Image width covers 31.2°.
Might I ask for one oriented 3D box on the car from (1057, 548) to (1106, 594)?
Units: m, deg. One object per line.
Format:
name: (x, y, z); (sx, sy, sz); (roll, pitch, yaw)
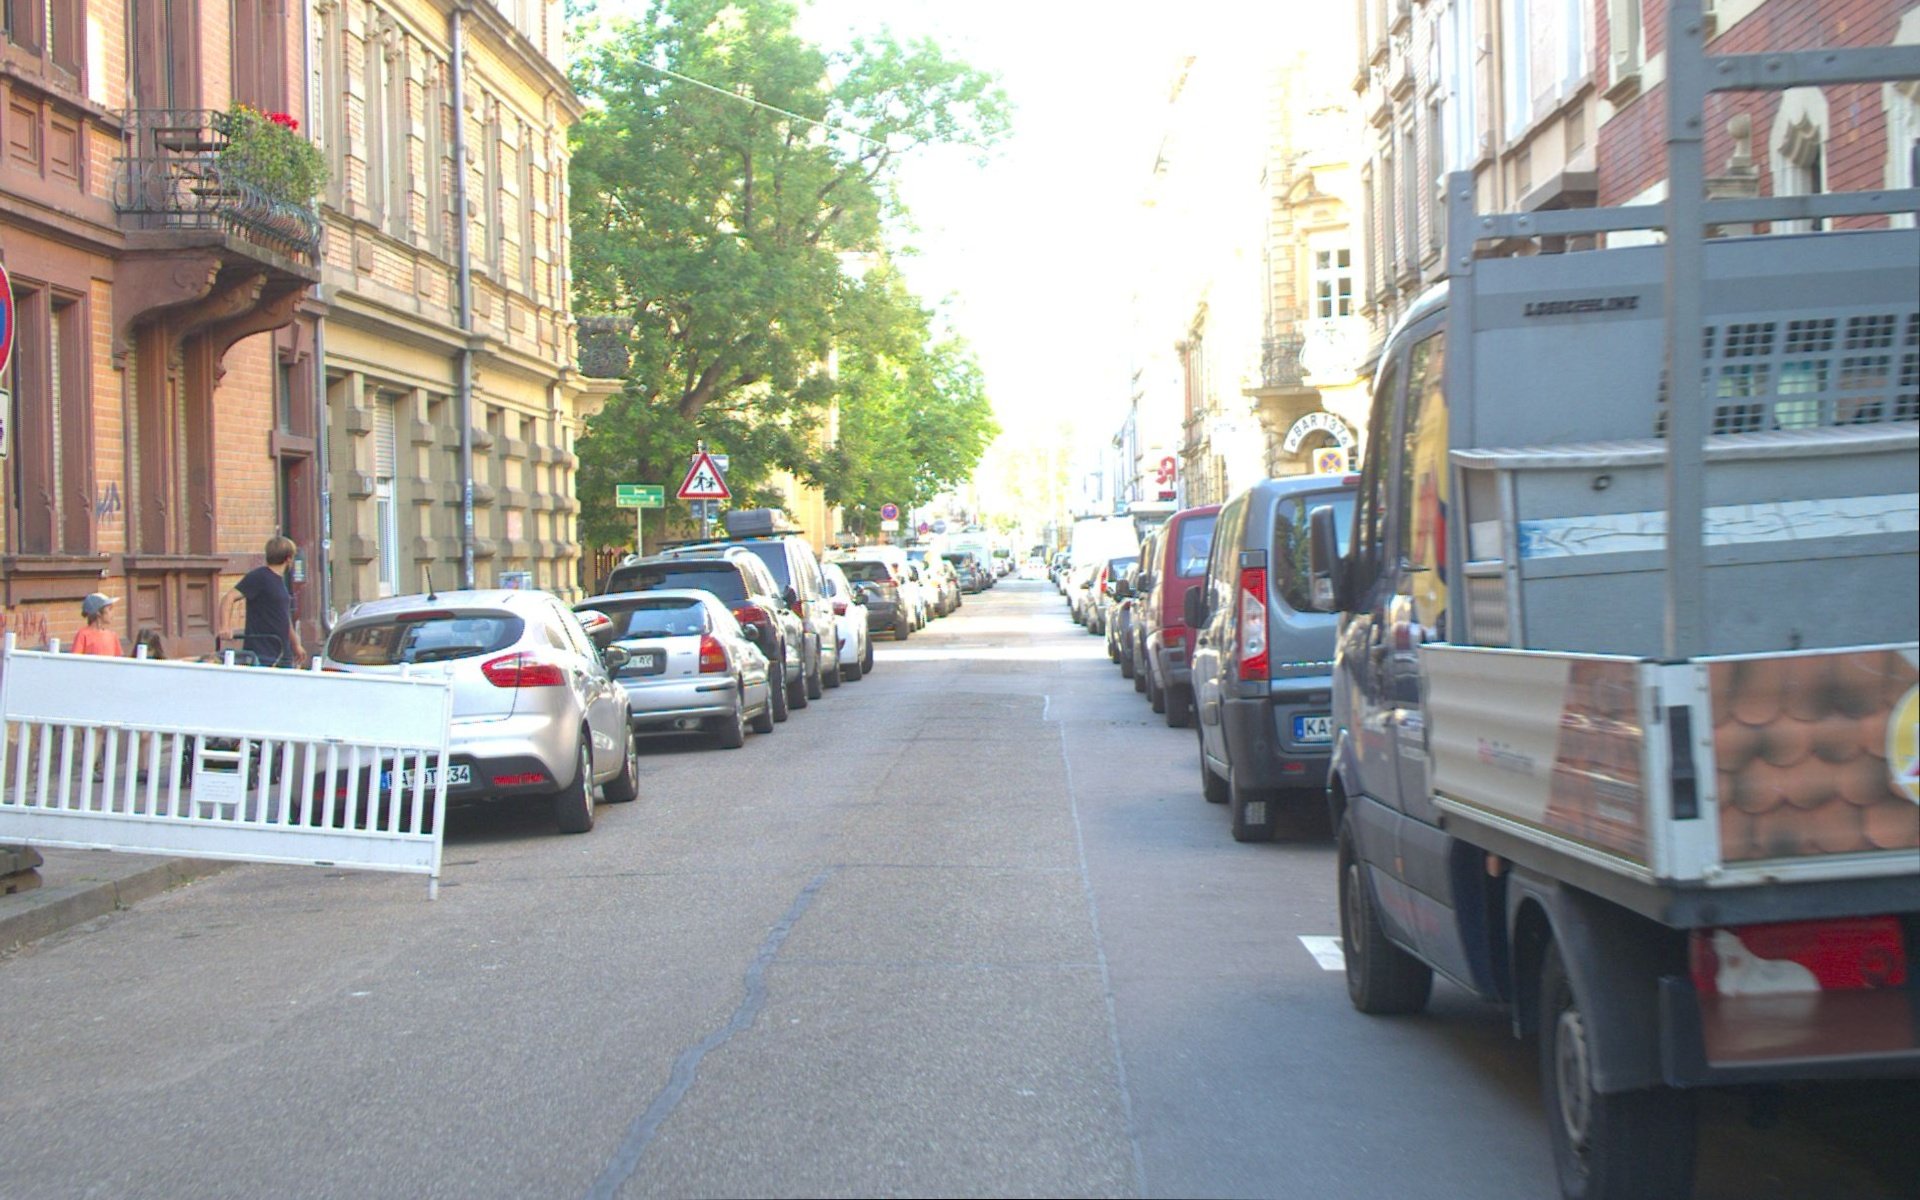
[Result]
car: (4.082, -0.967, 115.070); (1.604, 1.499, 4.000); (0, 1, 3)

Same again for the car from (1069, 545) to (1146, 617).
car: (3.603, -0.459, 84.403); (1.808, 1.684, 4.214); (1, 0, 2)

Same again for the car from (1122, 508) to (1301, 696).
car: (2.740, -0.004, 38.217); (1.769, 1.954, 4.264); (1, 1, 2)

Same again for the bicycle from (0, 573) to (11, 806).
bicycle: (-6.131, 0.541, 20.195); (0.524, 1.420, 1.712); (2, 0, 2)

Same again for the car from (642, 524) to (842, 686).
car: (-2.502, 0.029, 40.460); (1.893, 1.778, 4.608); (1, 1, 2)

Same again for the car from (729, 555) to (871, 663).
car: (-2.259, 0.105, 49.420); (1.722, 1.476, 4.089); (1, 1, 2)

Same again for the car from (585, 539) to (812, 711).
car: (-2.593, 0.213, 35.101); (1.788, 1.619, 4.607); (1, 1, 2)

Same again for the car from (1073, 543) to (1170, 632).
car: (3.238, -0.275, 69.564); (1.703, 1.708, 3.938); (-2, 1, -1)

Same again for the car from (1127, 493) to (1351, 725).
car: (2.557, 0.046, 32.466); (1.832, 2.007, 4.741); (1, 1, 2)

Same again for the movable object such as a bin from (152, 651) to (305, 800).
movable object such as a bin: (-4.952, 0.834, 23.351); (0.761, 0.929, 1.415); (-1, 1, -2)

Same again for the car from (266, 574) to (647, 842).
car: (-3.000, 0.589, 21.230); (1.674, 1.414, 4.000); (-2, 1, 1)

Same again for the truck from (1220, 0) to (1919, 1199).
truck: (2.182, -0.039, 9.212); (2.148, 2.648, 6.254); (-5, 1, -1)

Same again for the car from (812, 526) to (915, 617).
car: (-2.034, -0.631, 73.532); (1.845, 1.856, 4.465); (-1, 1, 2)

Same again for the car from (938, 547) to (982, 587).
car: (0.018, -1.498, 155.538); (1.875, 1.790, 4.000); (-1, 1, 2)

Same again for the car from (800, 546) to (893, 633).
car: (-2.216, -0.234, 68.200); (1.740, 1.641, 4.289); (-1, 1, -1)

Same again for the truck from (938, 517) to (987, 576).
truck: (0.149, -3.004, 193.918); (2.532, 3.270, 6.994); (-1, 1, 2)

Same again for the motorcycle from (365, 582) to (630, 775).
motorcycle: (-3.516, 0.600, 25.992); (0.842, 1.355, 2.196); (-4, 1, -41)

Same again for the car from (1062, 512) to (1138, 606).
car: (4.005, -1.199, 98.995); (2.068, 2.602, 5.888); (0, 1, 1)

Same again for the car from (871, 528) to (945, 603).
car: (-1.419, -0.957, 95.388); (1.864, 1.950, 4.610); (-3, 1, 1)

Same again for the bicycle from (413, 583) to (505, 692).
bicycle: (-5.476, 0.395, 37.658); (0.667, 1.121, 1.785); (2, 1, 2)

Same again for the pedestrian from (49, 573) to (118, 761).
pedestrian: (-6.142, 0.462, 24.111); (0.393, 1.302, 0.432); (0, 1, -4)

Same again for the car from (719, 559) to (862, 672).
car: (-2.187, 0.172, 45.128); (1.674, 1.416, 3.874); (0, 1, 0)

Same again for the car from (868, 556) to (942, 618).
car: (-1.409, -0.357, 89.412); (1.742, 1.581, 3.869); (-1, 1, 1)

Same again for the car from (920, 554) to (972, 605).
car: (-0.461, -0.693, 116.336); (1.600, 1.609, 3.808); (-3, 1, 1)

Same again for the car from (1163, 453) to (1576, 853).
car: (2.199, 0.234, 19.630); (1.845, 1.977, 4.576); (1, 1, 1)

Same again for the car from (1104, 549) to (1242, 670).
car: (2.751, 0.092, 45.044); (1.666, 1.474, 3.887); (-1, 1, 2)

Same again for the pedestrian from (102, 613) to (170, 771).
pedestrian: (-5.724, 0.635, 23.892); (0.393, 1.083, 0.432); (0, 1, -4)

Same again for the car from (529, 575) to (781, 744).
car: (-2.597, 0.469, 30.072); (1.698, 1.309, 4.000); (2, 0, 1)

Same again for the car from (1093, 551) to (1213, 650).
car: (2.951, -0.024, 53.299); (1.706, 1.454, 4.511); (1, 1, 2)

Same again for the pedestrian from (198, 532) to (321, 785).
pedestrian: (-4.988, 0.404, 24.511); (0.685, 1.759, 0.887); (-1, 1, -2)
